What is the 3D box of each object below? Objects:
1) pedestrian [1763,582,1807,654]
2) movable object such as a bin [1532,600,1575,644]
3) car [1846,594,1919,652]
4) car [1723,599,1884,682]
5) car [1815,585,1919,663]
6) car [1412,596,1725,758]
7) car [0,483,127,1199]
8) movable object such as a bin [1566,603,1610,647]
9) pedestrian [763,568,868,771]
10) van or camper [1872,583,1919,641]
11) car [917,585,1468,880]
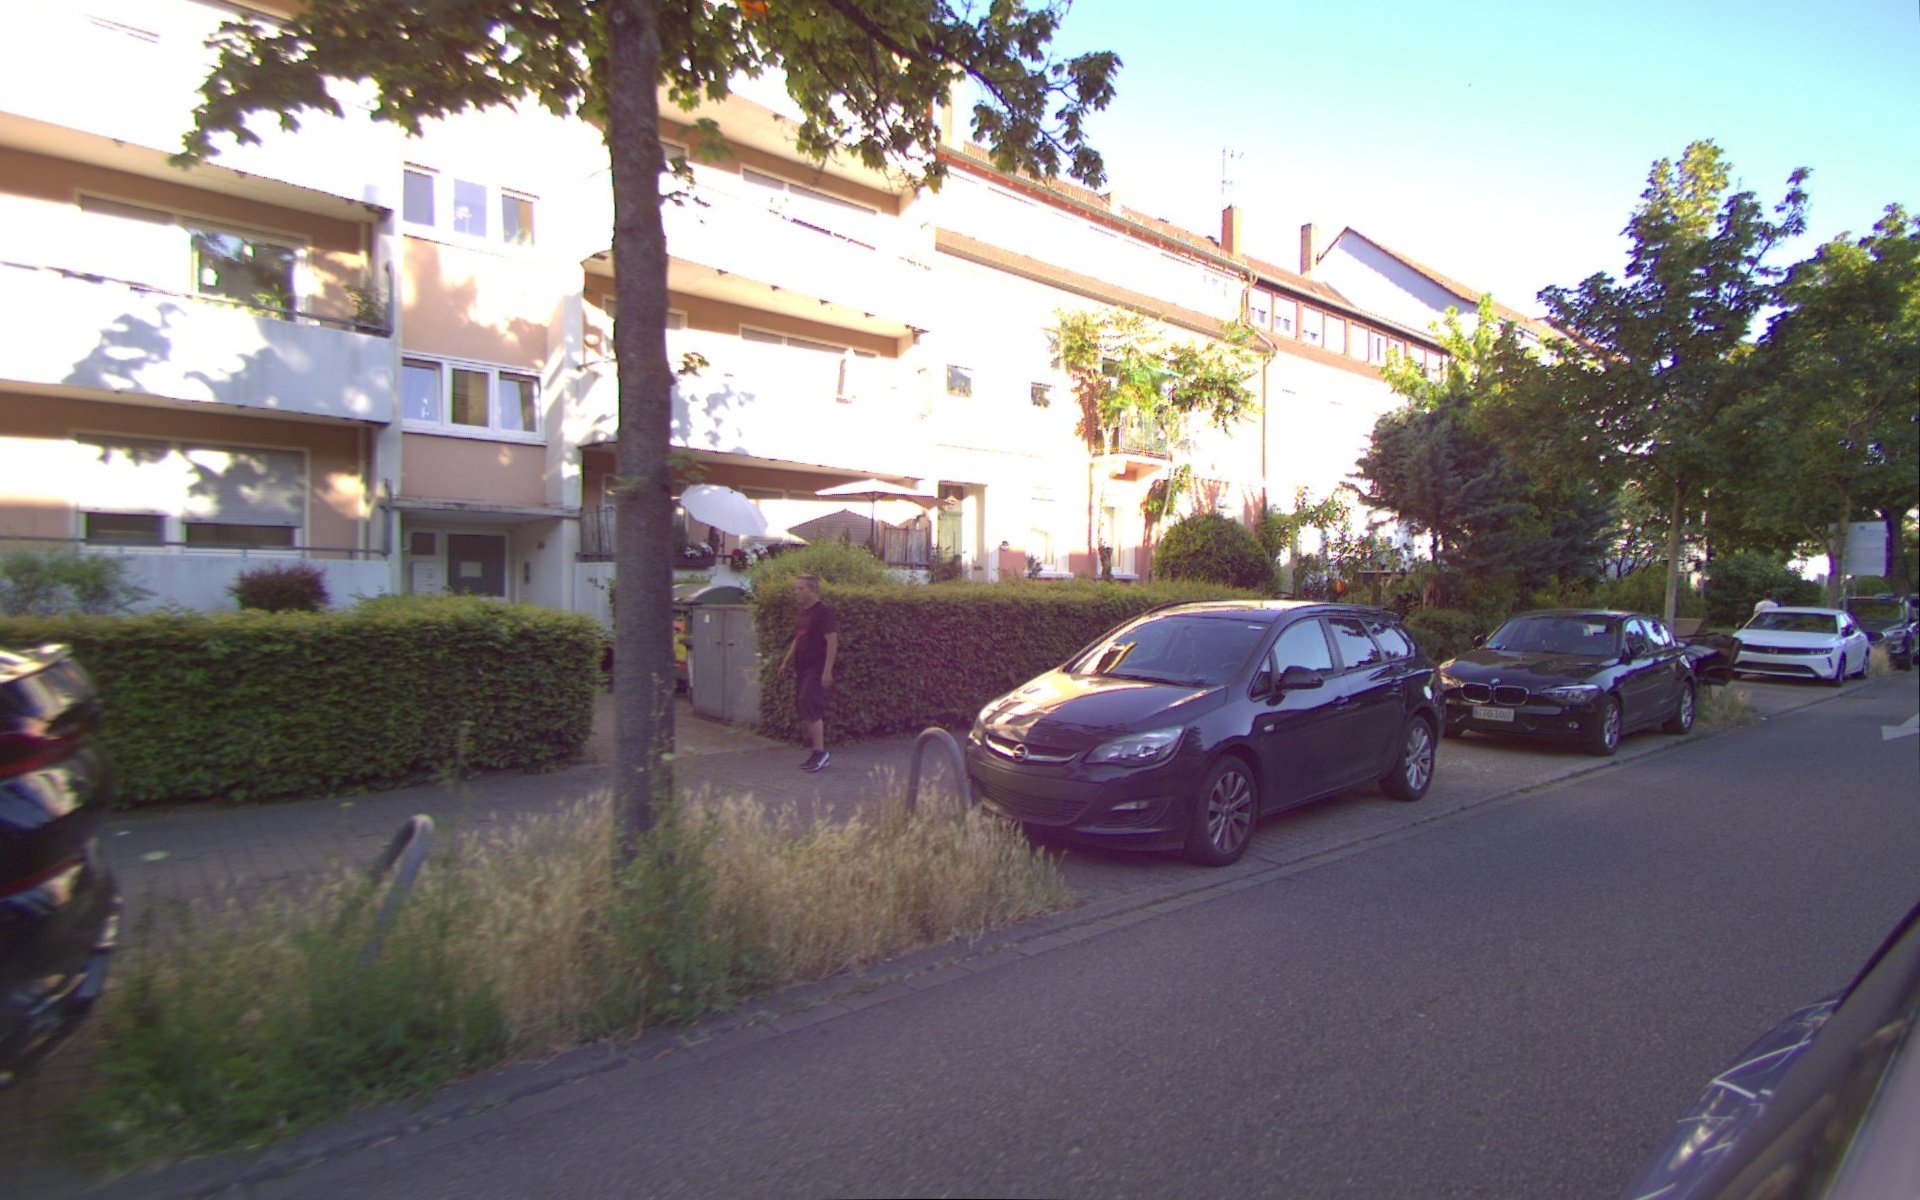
[{"bbox_3d":[21.362,0.460,26.203,0.751,1.806,0.669,-2,-1,-41],"label":"pedestrian"},{"bbox_3d":[15.469,0.568,26.377,0.672,1.071,0.727,0,3,-41],"label":"movable object such as a bin"},{"bbox_3d":[26.491,0.581,28.316,4.744,1.523,1.788,0,0,-39],"label":"car"},{"bbox_3d":[16.756,0.716,20.034,4.257,1.419,1.765,0,1,-41],"label":"car"},{"bbox_3d":[22.865,0.523,25.086,4.627,1.702,1.919,0,2,-42],"label":"car"},{"bbox_3d":[7.063,0.708,11.554,4.406,1.467,1.773,0,1,-41],"label":"car"},{"bbox_3d":[-4.414,0.573,1.621,4.713,1.676,1.951,0,0,-42],"label":"car"},{"bbox_3d":[15.994,0.626,25.778,0.672,1.071,0.727,0,3,-41],"label":"movable object such as a bin"},{"bbox_3d":[-1.243,0.558,8.662,0.570,1.636,0.747,0,0,-42],"label":"pedestrian"},{"bbox_3d":[32.870,0.435,34.489,5.165,1.866,1.997,1,-1,-40],"label":"van or camper"},{"bbox_3d":[1.906,0.663,7.301,4.356,1.490,1.718,0,1,-43],"label":"car"}]
